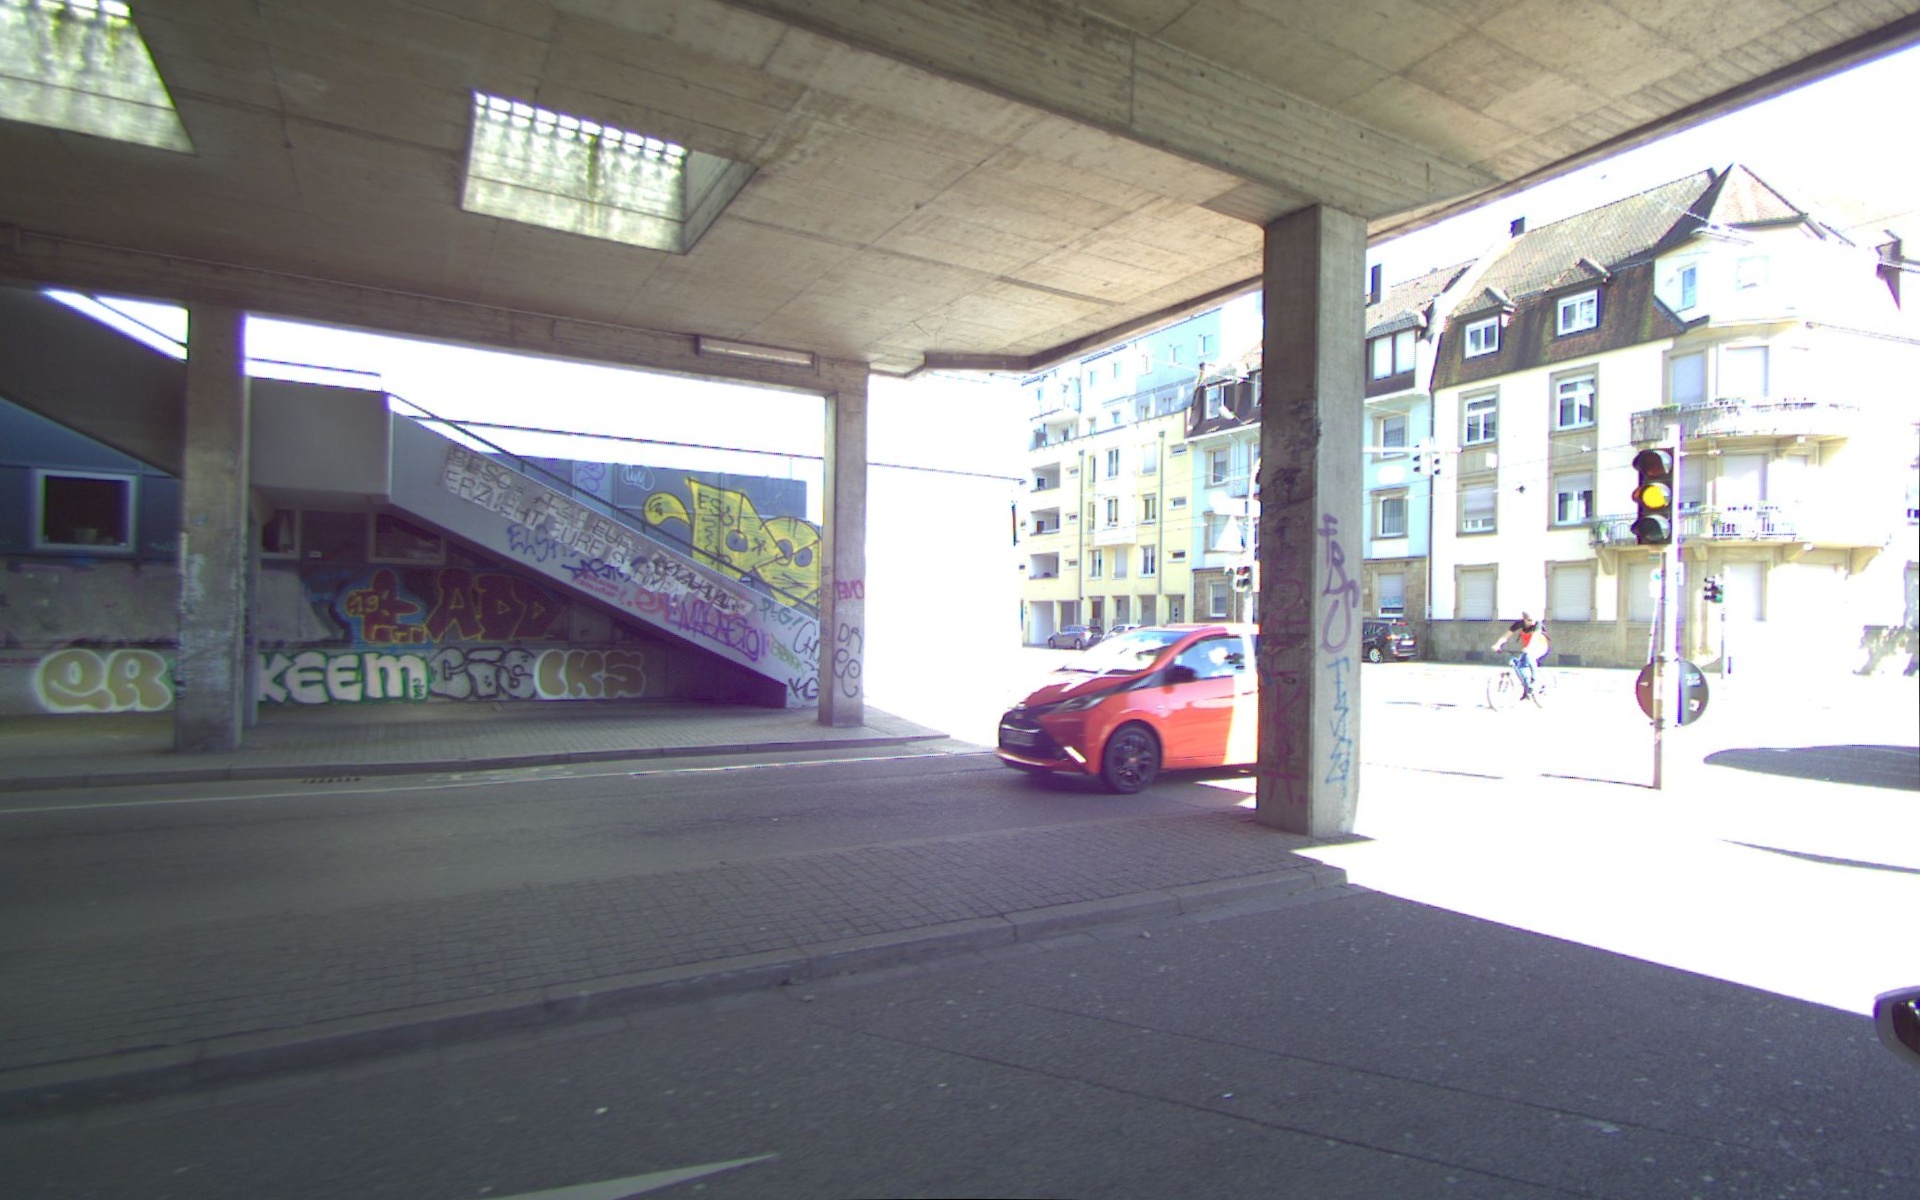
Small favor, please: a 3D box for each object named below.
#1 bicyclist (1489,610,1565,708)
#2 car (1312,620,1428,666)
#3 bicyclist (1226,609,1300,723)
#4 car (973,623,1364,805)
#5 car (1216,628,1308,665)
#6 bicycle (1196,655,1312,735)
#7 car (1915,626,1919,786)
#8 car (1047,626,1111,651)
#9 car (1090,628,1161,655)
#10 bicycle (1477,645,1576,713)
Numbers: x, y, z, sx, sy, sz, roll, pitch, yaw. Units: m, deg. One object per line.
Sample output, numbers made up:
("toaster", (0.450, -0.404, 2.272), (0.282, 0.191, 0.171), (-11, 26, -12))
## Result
("bicyclist", (10.135, 1.040, 17.960), (1.018, 1.682, 0.779), (1, -1, -28))
("car", (16.621, 1.686, 40.936), (1.938, 1.747, 4.144), (0, -1, -28))
("bicyclist", (4.519, 0.968, 14.996), (0.899, 1.654, 0.603), (1, -1, -29))
("car", (2.013, 0.967, 9.624), (3.419, 1.460, 1.651), (1, -1, -28))
("car", (13.776, 2.070, 46.049), (1.875, 1.561, 3.863), (0, -1, -28))
("bicycle", (4.377, 1.380, 14.900), (1.838, 1.104, 0.523), (1, -1, -30))
("car", (11.031, 0.996, 9.942), (4.290, 1.470, 1.786), (1, -2, -40))
("car", (6.890, 2.218, 58.557), (1.939, 1.381, 3.815), (0, -1, -27))
("car", (8.955, 2.223, 54.653), (1.974, 1.381, 3.815), (0, -1, -27))
("bicycle", (10.129, 1.385, 17.941), (2.032, 1.138, 0.539), (1, -1, -28))
